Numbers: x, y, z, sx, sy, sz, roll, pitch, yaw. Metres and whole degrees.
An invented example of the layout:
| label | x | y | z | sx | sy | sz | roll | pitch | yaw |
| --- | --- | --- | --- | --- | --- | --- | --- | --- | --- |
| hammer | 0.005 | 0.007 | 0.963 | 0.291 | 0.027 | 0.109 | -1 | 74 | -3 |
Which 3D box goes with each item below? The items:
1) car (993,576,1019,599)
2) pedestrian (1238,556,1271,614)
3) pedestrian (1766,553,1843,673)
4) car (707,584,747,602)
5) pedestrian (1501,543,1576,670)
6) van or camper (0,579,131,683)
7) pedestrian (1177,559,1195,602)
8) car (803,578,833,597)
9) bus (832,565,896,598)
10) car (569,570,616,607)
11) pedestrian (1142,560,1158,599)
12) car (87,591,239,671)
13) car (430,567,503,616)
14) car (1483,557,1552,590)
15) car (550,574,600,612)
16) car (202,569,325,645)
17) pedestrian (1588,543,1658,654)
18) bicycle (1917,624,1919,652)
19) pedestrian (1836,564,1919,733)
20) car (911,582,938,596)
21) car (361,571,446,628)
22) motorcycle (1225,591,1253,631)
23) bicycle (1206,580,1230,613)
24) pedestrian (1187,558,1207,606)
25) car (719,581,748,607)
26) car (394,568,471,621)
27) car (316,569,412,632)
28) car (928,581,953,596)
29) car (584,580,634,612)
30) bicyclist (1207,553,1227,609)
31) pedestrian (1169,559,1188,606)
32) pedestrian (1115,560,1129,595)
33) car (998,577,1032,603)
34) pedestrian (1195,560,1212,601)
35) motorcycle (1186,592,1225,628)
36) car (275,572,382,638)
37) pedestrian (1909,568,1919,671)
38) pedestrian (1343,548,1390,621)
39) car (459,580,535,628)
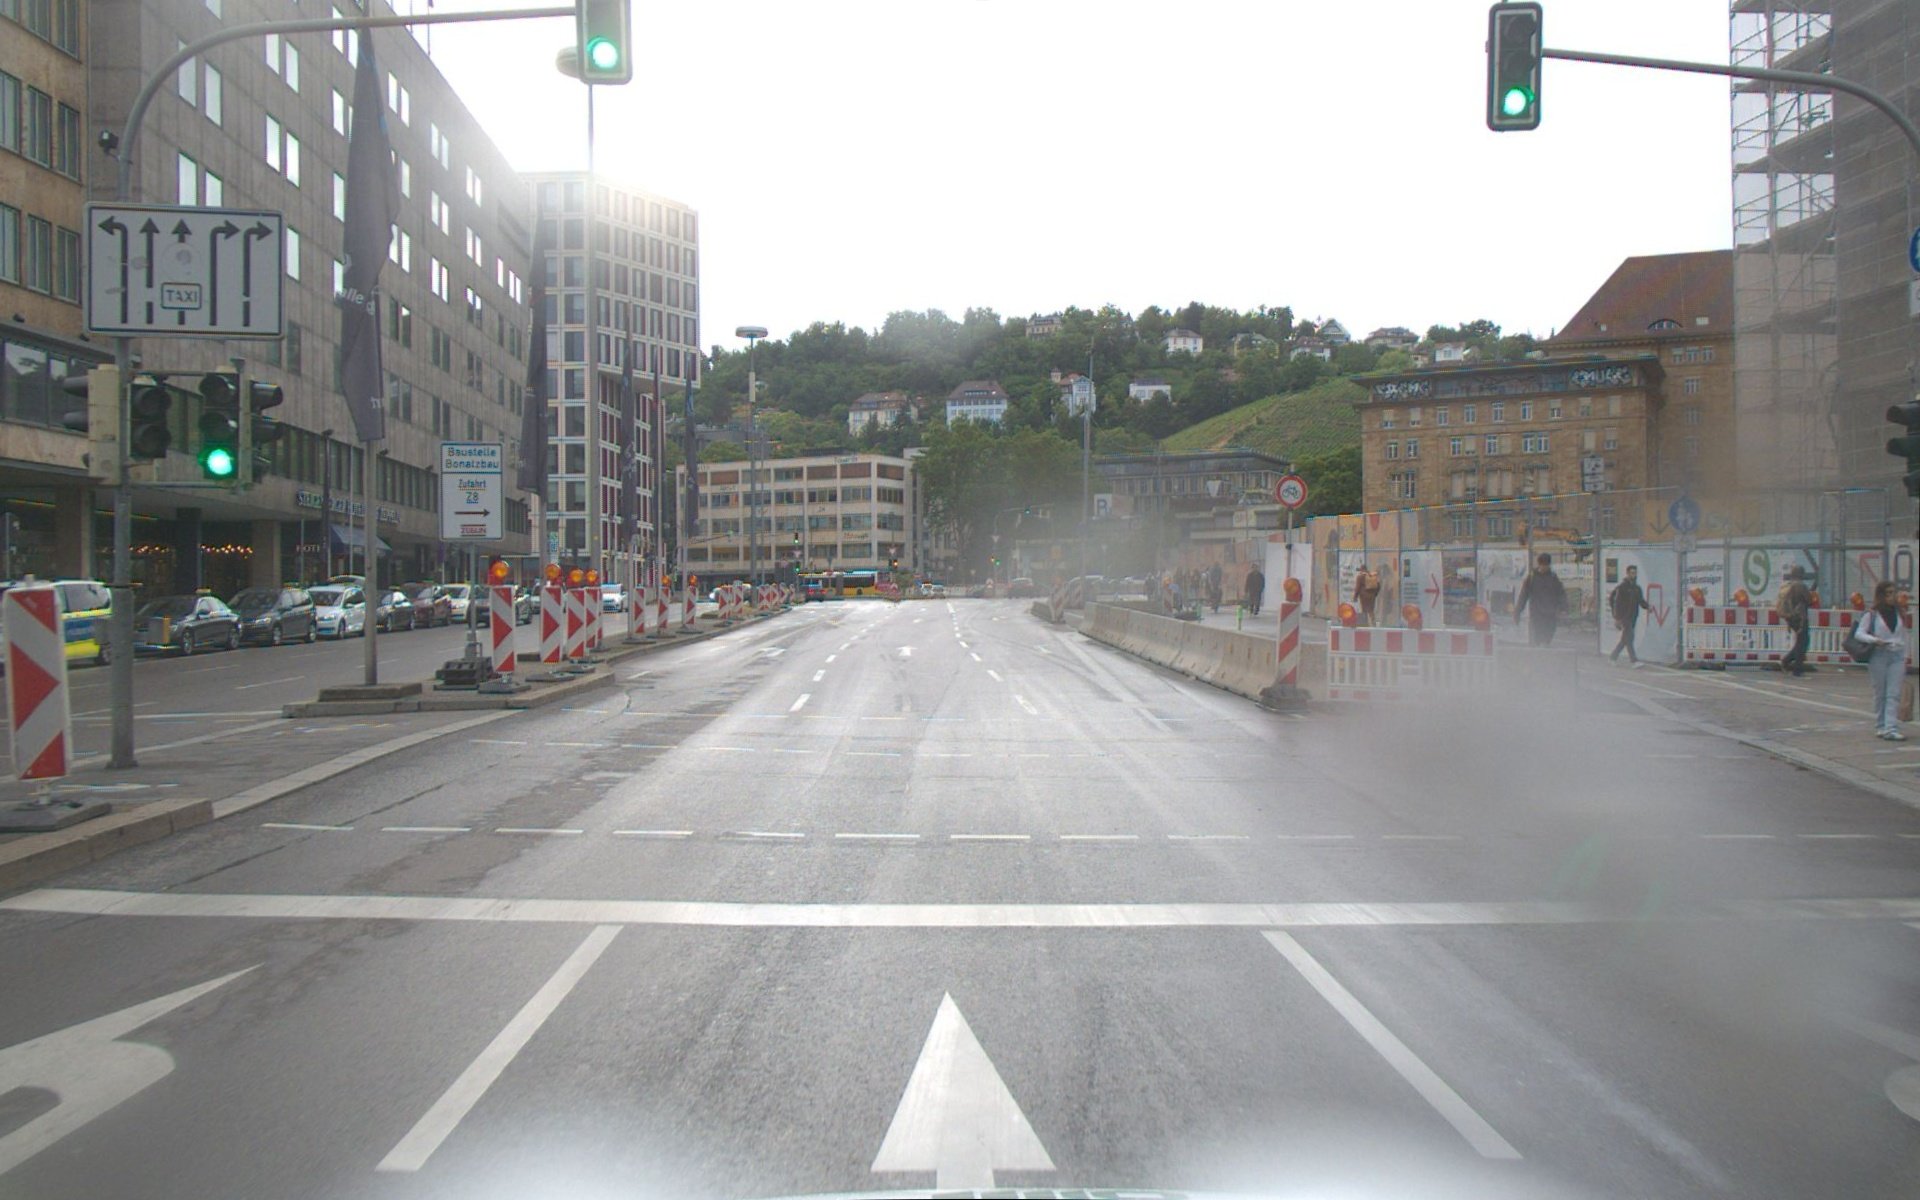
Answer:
| label | x | y | z | sx | sy | sz | roll | pitch | yaw |
| --- | --- | --- | --- | --- | --- | --- | --- | --- | --- |
| car | 3.500 | -0.966 | 126.550 | 1.740 | 1.668 | 3.999 | -1 | 1 | -2 |
| pedestrian | 9.637 | -0.494 | 54.200 | 0.926 | 1.873 | 0.868 | -1 | 0 | 3 |
| pedestrian | 13.506 | 0.202 | 26.470 | 0.846 | 1.873 | 0.798 | -1 | 0 | 7 |
| car | -23.755 | -0.754 | 168.533 | 1.956 | 1.623 | 3.994 | -1 | 1 | 30 |
| pedestrian | 8.788 | 0.095 | 25.097 | 0.928 | 1.873 | 0.946 | -1 | 0 | 27 |
| van or camper | -19.738 | 0.606 | 35.118 | 1.954 | 2.049 | 4.962 | -1 | 1 | -3 |
| pedestrian | 10.030 | -0.864 | 73.378 | 0.674 | 1.873 | 0.614 | -1 | 0 | 2 |
| car | -12.228 | -1.056 | 142.039 | 1.960 | 1.579 | 3.986 | -1 | 1 | -14 |
| bus | -11.710 | -2.255 | 200.925 | 2.678 | 3.825 | 9.186 | -2 | 1 | -41 |
| car | -21.671 | -0.678 | 97.696 | 1.954 | 2.048 | 3.998 | -2 | 1 | -2 |
| pedestrian | 9.159 | -1.000 | 79.568 | 0.674 | 1.873 | 0.614 | -1 | 0 | 2 |
| car | -19.994 | 0.728 | 41.684 | 1.953 | 1.870 | 3.998 | -1 | 1 | -2 |
| car | -21.629 | -0.385 | 72.645 | 1.953 | 2.049 | 4.414 | -1 | 1 | -2 |
| car | 36.522 | -1.732 | 108.403 | 3.902 | 2.049 | 2.002 | -1 | 0 | 6 |
| car | -21.467 | -0.399 | 92.452 | 1.953 | 2.049 | 3.998 | -1 | 1 | -2 |
| car | -20.138 | 0.176 | 48.020 | 1.953 | 2.049 | 3.998 | -1 | 1 | -2 |
| pedestrian | 11.415 | -0.031 | 28.474 | 0.851 | 1.873 | 0.945 | -1 | 0 | 40 |
| bicycle | 8.899 | 0.720 | 13.812 | 0.693 | 1.067 | 1.807 | -8 | 1 | 2 |
| pedestrian | 9.239 | 0.467 | 16.534 | 0.779 | 1.636 | 0.835 | -1 | 0 | 26 |
| car | -4.040 | -1.280 | 187.384 | 1.964 | 1.467 | 3.977 | 0 | 1 | -20 |
| car | -20.933 | -0.040 | 62.377 | 1.953 | 2.049 | 3.998 | -1 | 1 | -2 |
| motorcycle | 5.307 | 0.205 | 31.461 | 0.363 | 0.734 | 0.922 | 1 | 1 | -1 |
| bicycle | 9.440 | -0.138 | 60.575 | 0.631 | 1.157 | 1.764 | -1 | 1 | 2 |
| pedestrian | 9.460 | -0.727 | 66.064 | 0.674 | 1.873 | 0.614 | -1 | 0 | 2 |
| car | -18.900 | -0.541 | 138.049 | 1.954 | 2.048 | 3.998 | -2 | 1 | -2 |
| car | -21.512 | -0.223 | 67.602 | 1.953 | 2.049 | 3.998 | -1 | 1 | -2 |
| car | -20.594 | 0.002 | 57.325 | 1.953 | 2.049 | 3.998 | -1 | 1 | -2 |
| car | -2.050 | -1.207 | 173.630 | 1.788 | 1.467 | 3.988 | 0 | 1 | -13 |
| car | -19.071 | -0.248 | 90.071 | 1.953 | 1.646 | 3.998 | -1 | 1 | -2 |
| bicyclist | 9.441 | -0.689 | 60.800 | 0.629 | 2.049 | 0.656 | -1 | 0 | 1 |
| pedestrian | 8.736 | -0.702 | 66.104 | 0.674 | 1.873 | 0.614 | -1 | 0 | 2 |
| pedestrian | 8.714 | -1.194 | 89.074 | 0.674 | 1.873 | 0.614 | -1 | 0 | 2 |
| car | 3.830 | -0.700 | 116.482 | 1.954 | 1.735 | 3.997 | -1 | 1 | -4 |
| pedestrian | 11.141 | -0.894 | 75.572 | 0.674 | 1.873 | 0.614 | -1 | 0 | 2 |
| motorcycle | 4.855 | 0.193 | 32.785 | 0.394 | 0.694 | 0.917 | 0 | 1 | -18 |
| car | -20.501 | 0.134 | 53.884 | 1.953 | 2.049 | 4.162 | -1 | 1 | -2 |
| pedestrian | 16.243 | 0.310 | 27.162 | 0.847 | 1.690 | 0.797 | -1 | 0 | 0 |
| pedestrian | 10.654 | -0.395 | 43.339 | 0.928 | 1.873 | 0.866 | -1 | 0 | -6 |
| car | -18.150 | 0.144 | 65.035 | 1.953 | 1.780 | 3.998 | -1 | 1 | -2 |
